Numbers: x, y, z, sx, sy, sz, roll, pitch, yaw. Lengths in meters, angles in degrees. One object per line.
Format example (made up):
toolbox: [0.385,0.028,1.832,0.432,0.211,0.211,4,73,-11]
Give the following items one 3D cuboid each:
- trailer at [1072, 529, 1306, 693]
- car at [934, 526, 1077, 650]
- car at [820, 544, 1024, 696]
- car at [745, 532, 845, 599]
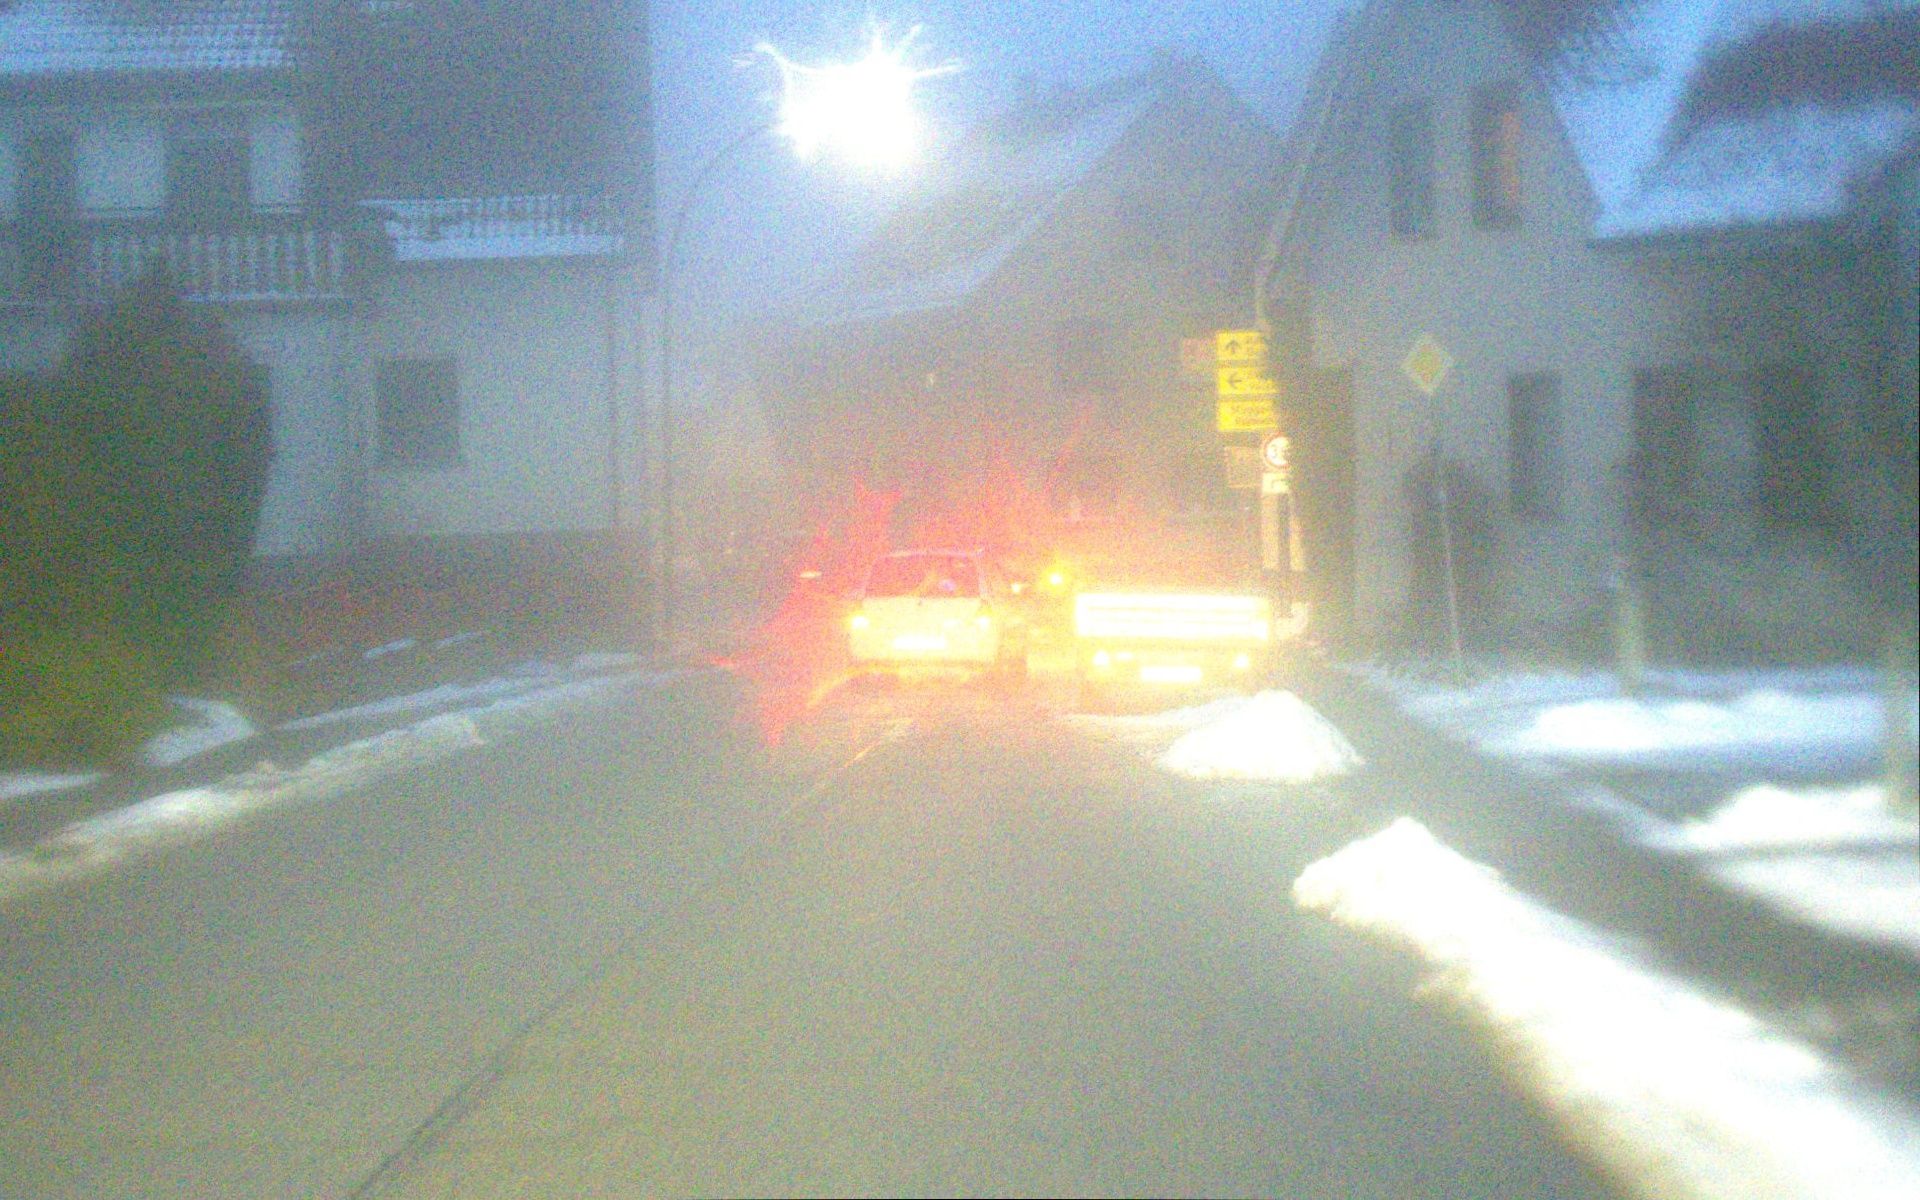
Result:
trailer: [2.143,0.046,31.985,1.994,1.383,4.731,1,1,4]
car: [0.683,-0.175,50.141,1.993,1.722,4.000,0,0,1]
car: [-0.343,0.196,36.521,1.993,1.503,4.000,0,0,2]
car: [-3.959,-0.839,82.085,1.910,1.476,4.283,-2,2,-9]
